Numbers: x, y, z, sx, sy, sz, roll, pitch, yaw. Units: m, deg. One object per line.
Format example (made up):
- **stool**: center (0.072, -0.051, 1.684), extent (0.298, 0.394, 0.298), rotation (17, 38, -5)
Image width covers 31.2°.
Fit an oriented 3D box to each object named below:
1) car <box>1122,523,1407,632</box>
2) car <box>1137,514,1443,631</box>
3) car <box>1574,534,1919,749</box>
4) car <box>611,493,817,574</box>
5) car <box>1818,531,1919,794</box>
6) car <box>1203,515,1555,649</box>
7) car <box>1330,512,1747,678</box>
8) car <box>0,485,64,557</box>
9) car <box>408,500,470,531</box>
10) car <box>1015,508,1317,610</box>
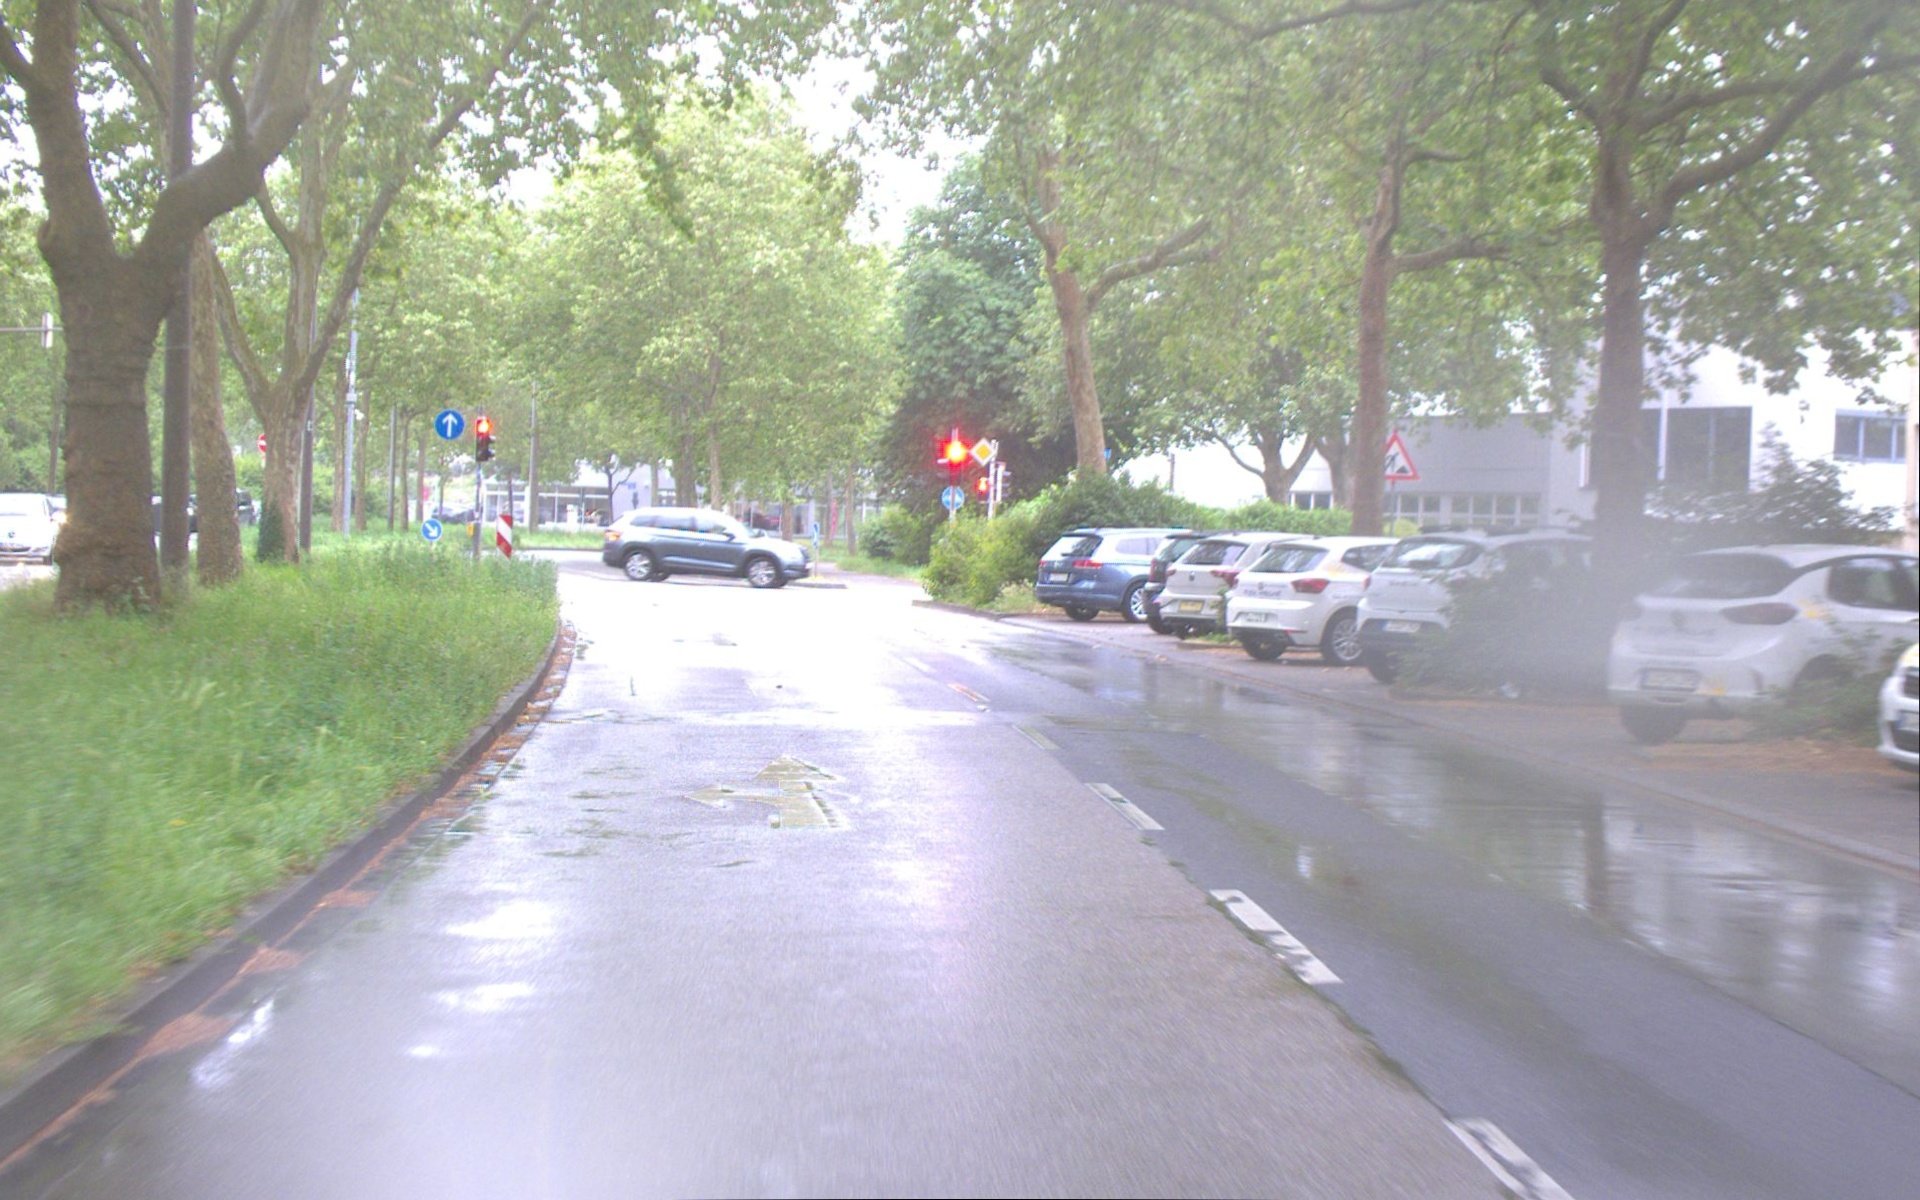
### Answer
- **car**: center (4.291, -0.313, 48.328), extent (3.681, 1.411, 1.749), rotation (1, 1, -35)
- **car**: center (4.337, -0.350, 45.041), extent (3.681, 1.411, 1.775), rotation (1, 1, -35)
- **car**: center (6.573, 0.299, 25.044), extent (4.025, 1.423, 1.749), rotation (1, 1, -34)
- **car**: center (-5.479, -1.485, 76.868), extent (4.293, 1.644, 1.749), rotation (2, 1, 7)
- **car**: center (7.264, 0.395, 20.740), extent (3.634, 1.499, 1.750), rotation (1, 2, -19)
- **car**: center (4.822, -0.200, 39.513), extent (3.680, 1.411, 1.749), rotation (1, 1, -31)
- **car**: center (5.811, -0.040, 34.373), extent (4.026, 1.534, 1.749), rotation (1, 1, -36)
- **car**: center (-21.853, -1.856, 79.774), extent (1.743, 1.586, 4.331), rotation (2, 1, -11)
- **car**: center (-36.941, -5.984, 243.600), extent (3.985, 2.007, 2.001), rotation (2, 0, -18)
- **car**: center (3.256, -0.644, 54.014), extent (4.481, 1.454, 1.749), rotation (1, 1, -31)
